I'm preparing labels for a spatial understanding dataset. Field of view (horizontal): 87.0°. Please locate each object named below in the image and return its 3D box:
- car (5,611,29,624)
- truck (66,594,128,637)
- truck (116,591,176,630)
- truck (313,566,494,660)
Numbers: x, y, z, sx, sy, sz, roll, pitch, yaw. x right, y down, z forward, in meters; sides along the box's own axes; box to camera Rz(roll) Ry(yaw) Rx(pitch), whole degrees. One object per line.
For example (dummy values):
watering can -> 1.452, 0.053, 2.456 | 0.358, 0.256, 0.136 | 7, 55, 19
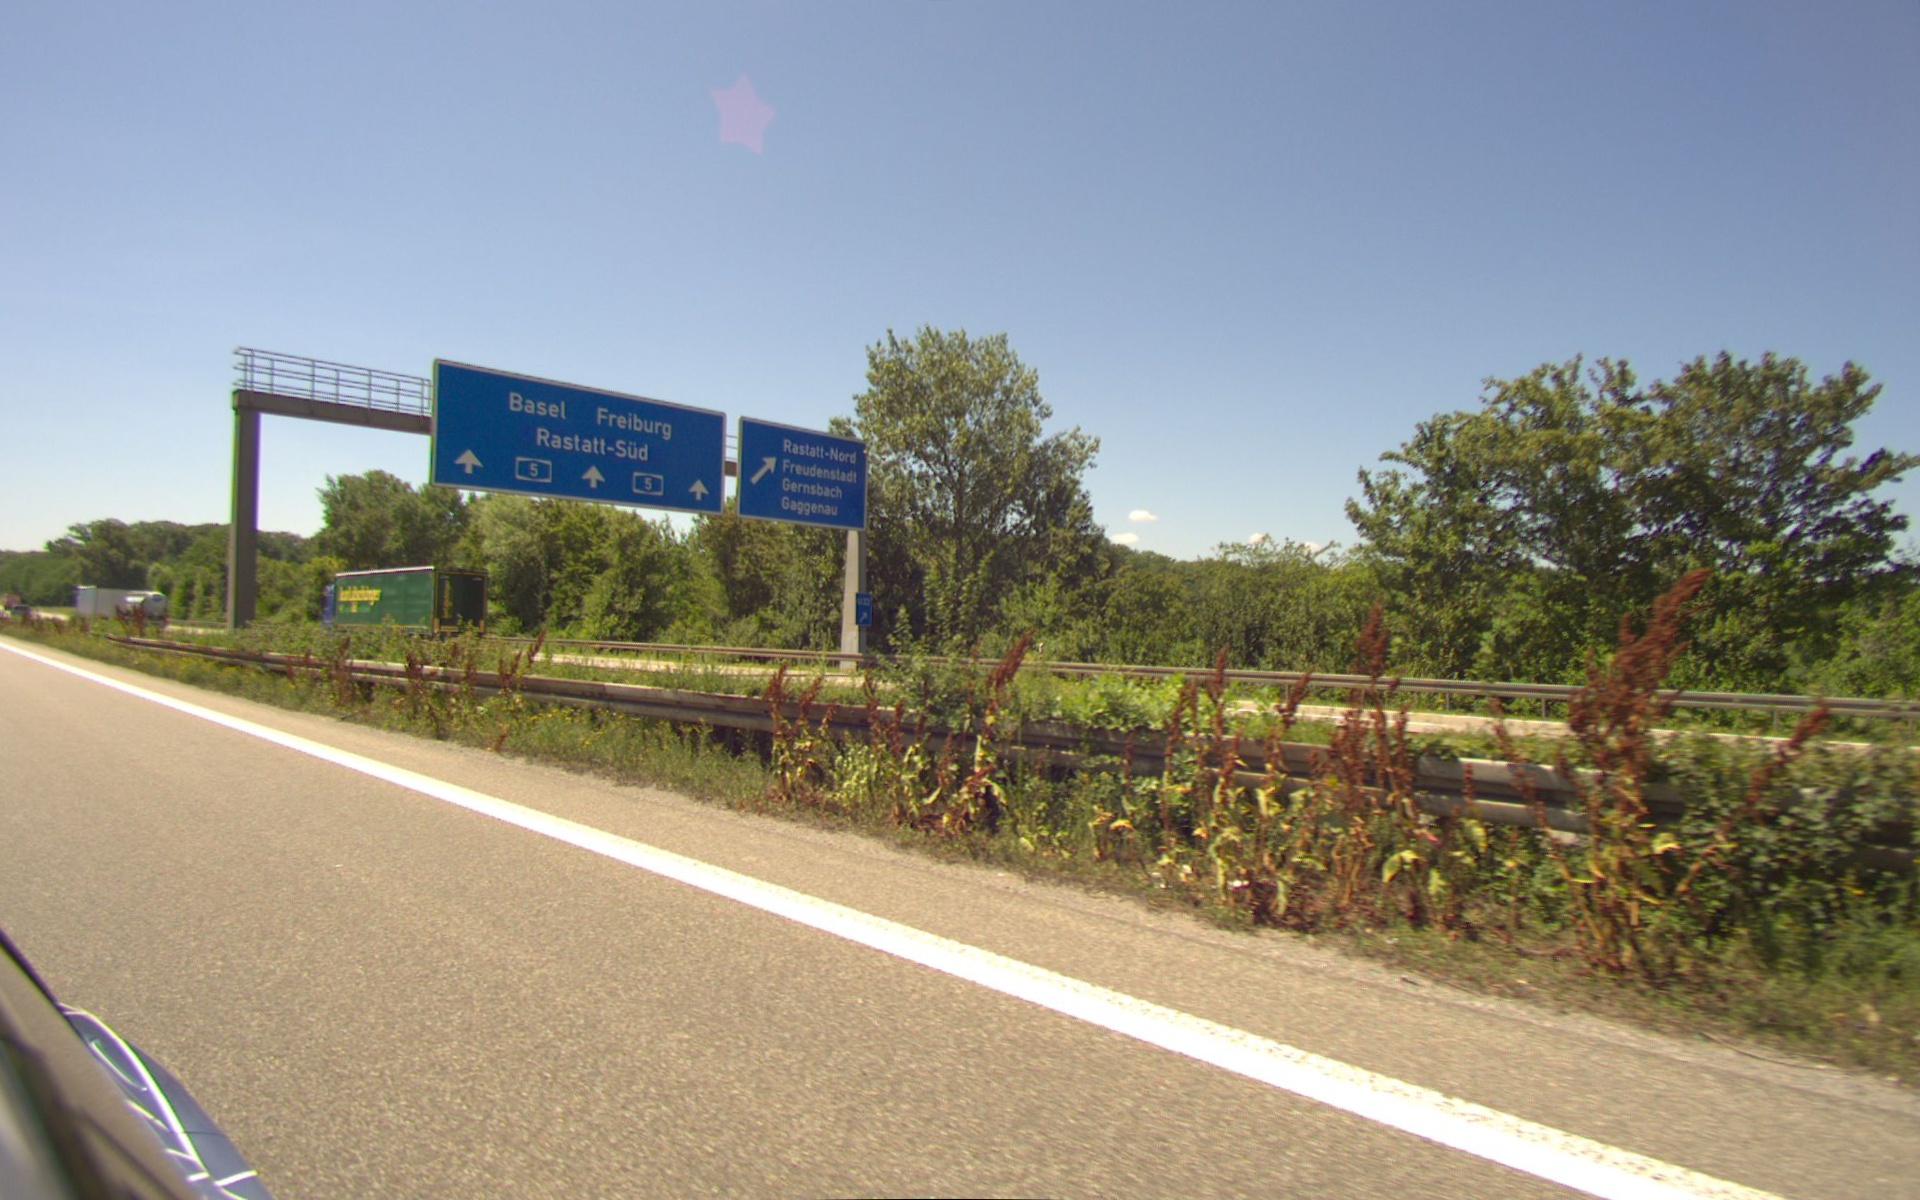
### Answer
car -> -121.593, 2.277, 130.499 | 4.819, 1.602, 1.971 | -1, -2, 44
truck -> -91.352, 1.655, 106.986 | 17.182, 4.278, 2.923 | -1, -3, 43
truck -> -90.663, 1.230, 112.565 | 15.821, 4.049, 2.923 | -1, -3, 43
truck -> -30.389, 0.747, 54.419 | 18.242, 4.375, 2.923 | -1, -3, 43
